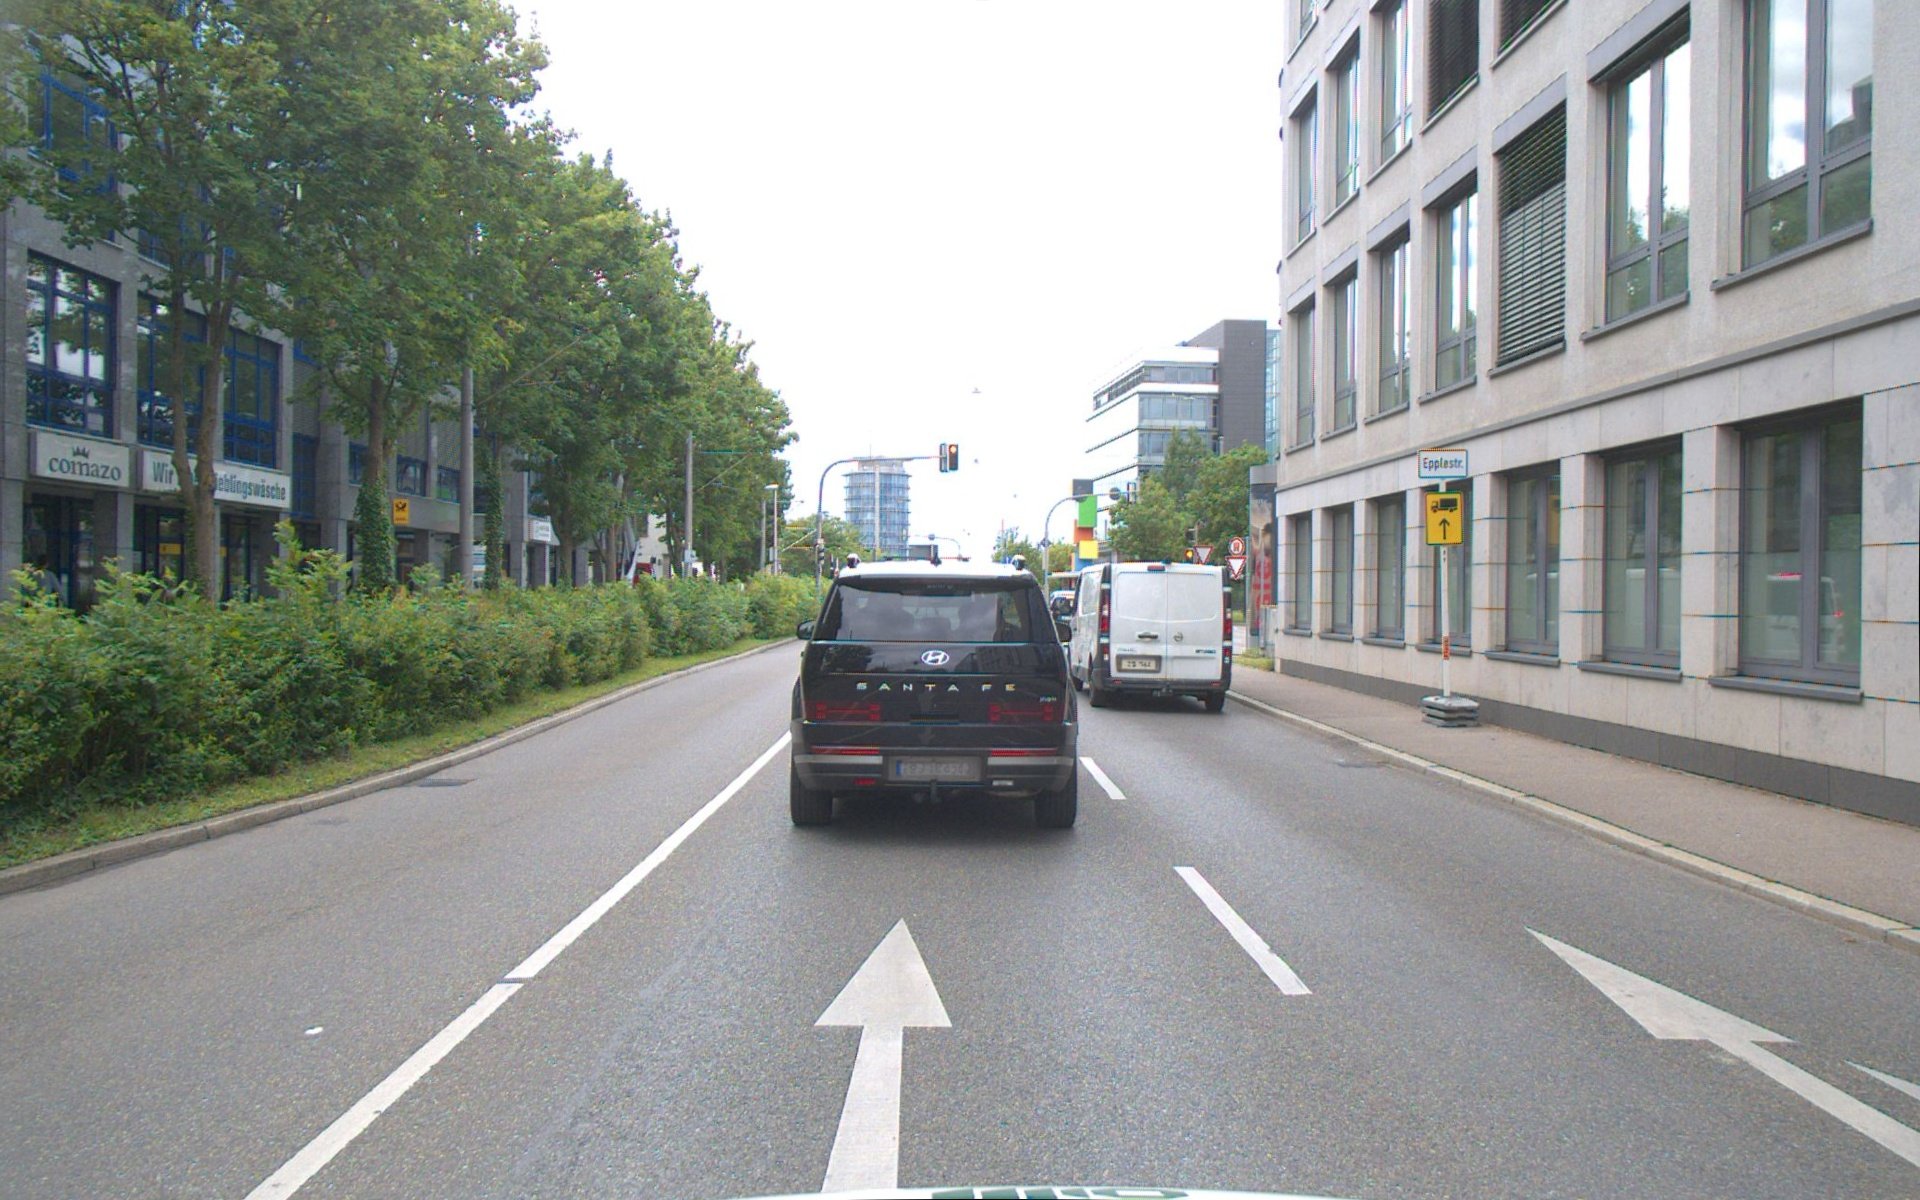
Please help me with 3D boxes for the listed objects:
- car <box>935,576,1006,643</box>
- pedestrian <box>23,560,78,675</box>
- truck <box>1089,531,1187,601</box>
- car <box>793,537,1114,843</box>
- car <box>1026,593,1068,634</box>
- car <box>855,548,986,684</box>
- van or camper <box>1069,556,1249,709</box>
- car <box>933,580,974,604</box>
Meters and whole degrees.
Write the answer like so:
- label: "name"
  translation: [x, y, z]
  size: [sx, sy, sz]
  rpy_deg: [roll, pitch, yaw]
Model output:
- label: "car"
  translation: [0.264, 0.257, 47.732]
  size: [1.953, 1.821, 3.999]
  rpy_deg: [1, 0, -1]
- label: "pedestrian"
  translation: [-16.380, 0.304, 29.800]
  size: [0.667, 2.049, 0.570]
  rpy_deg: [0, 0, -1]
- label: "truck"
  translation: [7.392, -1.351, 69.463]
  size: [2.289, 2.796, 6.470]
  rpy_deg: [0, 0, -11]
- label: "car"
  translation: [-0.178, 0.536, 11.900]
  size: [1.871, 1.780, 4.393]
  rpy_deg: [1, 0, -4]
- label: "car"
  translation: [3.628, 0.543, 69.535]
  size: [1.723, 1.637, 4.189]
  rpy_deg: [0, 0, 2]
- label: "car"
  translation: [-0.729, 0.231, 27.054]
  size: [1.894, 2.029, 4.531]
  rpy_deg: [0, 0, -5]
- label: "van or camper"
  translation: [2.730, 0.412, 23.677]
  size: [1.953, 1.949, 4.331]
  rpy_deg: [1, 0, -1]
- label: "car"
  translation: [-0.461, -0.567, 117.378]
  size: [1.961, 1.622, 3.984]
  rpy_deg: [0, 0, -15]
